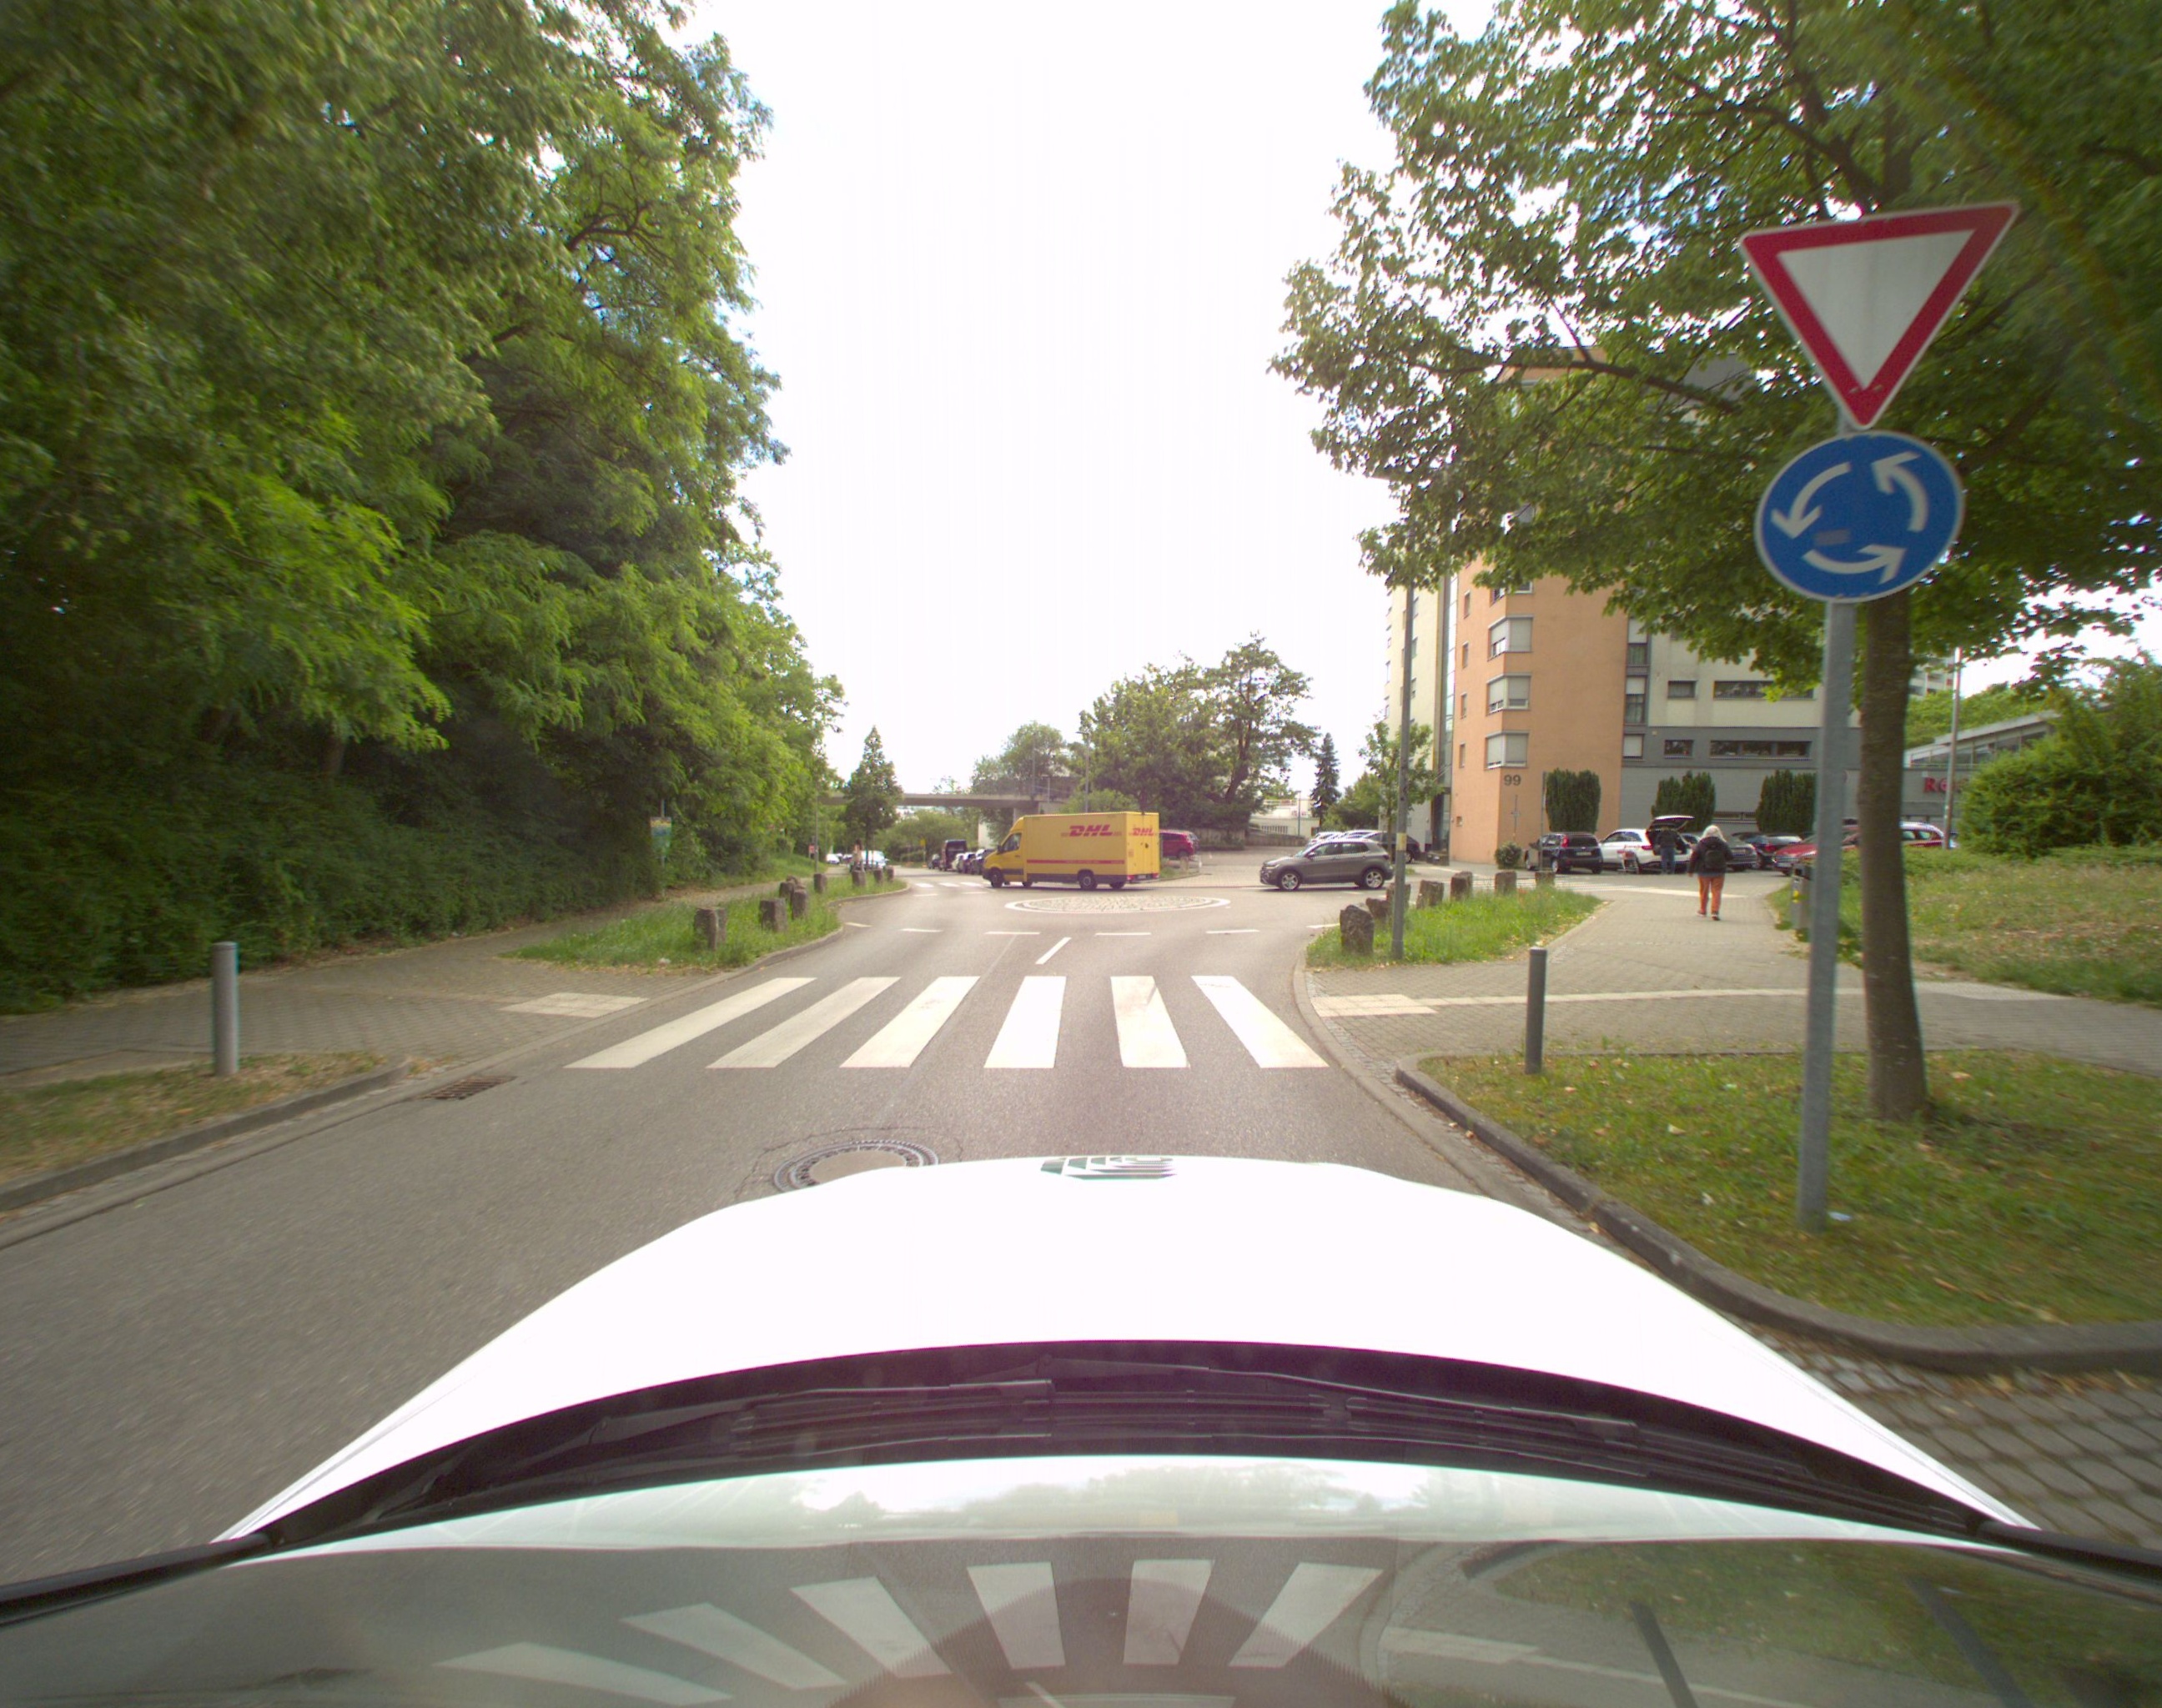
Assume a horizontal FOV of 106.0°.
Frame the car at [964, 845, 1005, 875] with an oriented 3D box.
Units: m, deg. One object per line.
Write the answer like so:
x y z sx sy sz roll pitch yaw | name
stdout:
-6.271 0.419 52.400 1.818 1.678 4.343 -1 -3 -17 | car

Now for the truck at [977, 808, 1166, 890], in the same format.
-0.456 -0.149 29.877 6.736 2.702 2.490 0 0 36 | truck

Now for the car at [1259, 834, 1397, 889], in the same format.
7.709 0.230 25.736 3.973 1.618 1.726 -1 0 8 | car

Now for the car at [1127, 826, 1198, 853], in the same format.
5.303 -0.921 53.247 4.524 1.668 1.947 1 1 3 | car

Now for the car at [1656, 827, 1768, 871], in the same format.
23.384 -0.203 30.354 1.627 1.482 3.785 -2 0 8 | car

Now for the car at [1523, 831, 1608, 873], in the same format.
18.346 -0.106 30.974 1.492 1.476 3.534 -1 0 8 | car

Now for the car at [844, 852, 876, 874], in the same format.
-15.990 0.668 58.673 1.891 1.509 4.423 1 -1 -20 | car

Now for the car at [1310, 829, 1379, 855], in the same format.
16.472 -0.758 51.069 3.954 1.517 1.763 1 1 12 | car

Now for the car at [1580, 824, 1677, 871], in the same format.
20.991 -0.260 31.412 1.559 1.658 3.785 -2 0 8 | car

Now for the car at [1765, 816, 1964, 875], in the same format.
24.876 -0.290 25.959 4.508 1.644 1.979 -2 1 -2 | car

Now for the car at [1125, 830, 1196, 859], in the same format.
4.219 -0.523 43.114 3.631 1.439 1.687 1 1 6 | car

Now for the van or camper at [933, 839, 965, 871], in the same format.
-11.250 0.143 69.171 1.998 2.523 5.440 -2 0 -16 | van or camper

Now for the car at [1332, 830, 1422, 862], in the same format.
14.927 -0.408 41.242 4.015 1.517 1.761 1 1 11 | car

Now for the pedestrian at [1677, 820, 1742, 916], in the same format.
11.310 0.243 14.680 0.609 1.665 0.843 1 1 11 | pedestrian

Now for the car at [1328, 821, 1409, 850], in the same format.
16.218 -1.032 46.127 4.093 1.593 1.698 1 1 11 | car

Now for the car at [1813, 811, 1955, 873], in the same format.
30.365 -0.455 30.972 1.814 2.160 3.986 1 1 7 | car

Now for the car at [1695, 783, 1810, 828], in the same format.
25.614 -1.799 31.245 1.627 1.482 3.785 -2 0 8 | car

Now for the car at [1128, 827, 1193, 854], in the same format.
4.899 -0.848 50.529 3.970 1.613 1.947 1 1 3 | car

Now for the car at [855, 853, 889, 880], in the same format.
-12.324 0.714 47.966 1.888 1.460 3.528 1 1 -15 | car

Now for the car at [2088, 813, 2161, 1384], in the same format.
4.502 0.633 1.365 3.500 1.461 1.739 0 1 0 | car

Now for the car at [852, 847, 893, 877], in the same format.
-11.054 0.405 43.049 1.791 1.468 3.975 1 1 -19 | car

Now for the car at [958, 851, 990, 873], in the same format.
-7.750 0.571 58.664 1.703 1.496 4.095 -1 0 -16 | car

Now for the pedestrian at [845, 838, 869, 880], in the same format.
-9.438 0.213 34.356 0.732 1.721 0.662 1 0 13 | pedestrian
